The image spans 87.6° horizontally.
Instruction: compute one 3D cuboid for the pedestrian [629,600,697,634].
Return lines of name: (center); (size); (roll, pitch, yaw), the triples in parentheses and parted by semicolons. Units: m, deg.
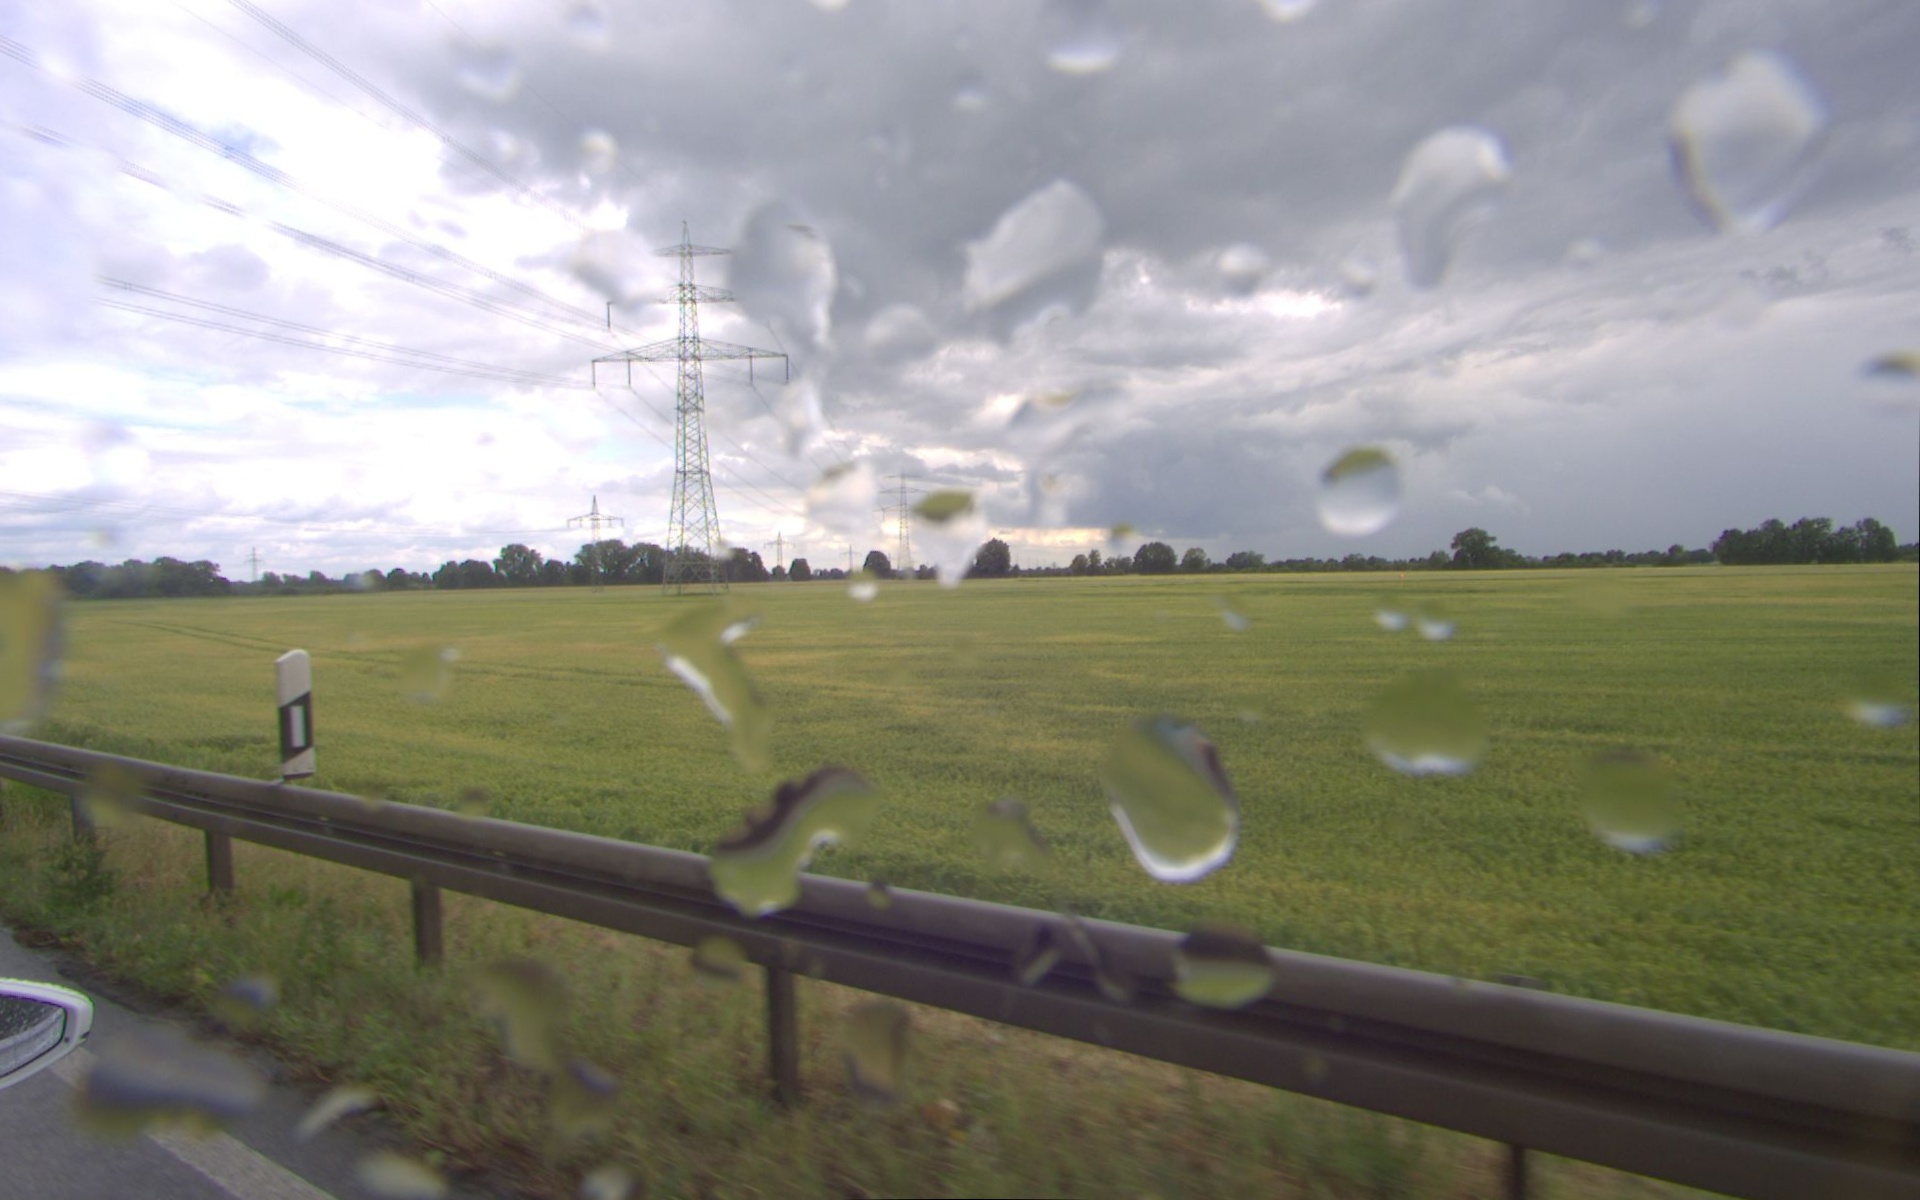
pedestrian: (-18.492, 1.096, 62.316); (3.943, 2.039, 1.990); (-1, -2, 32)
